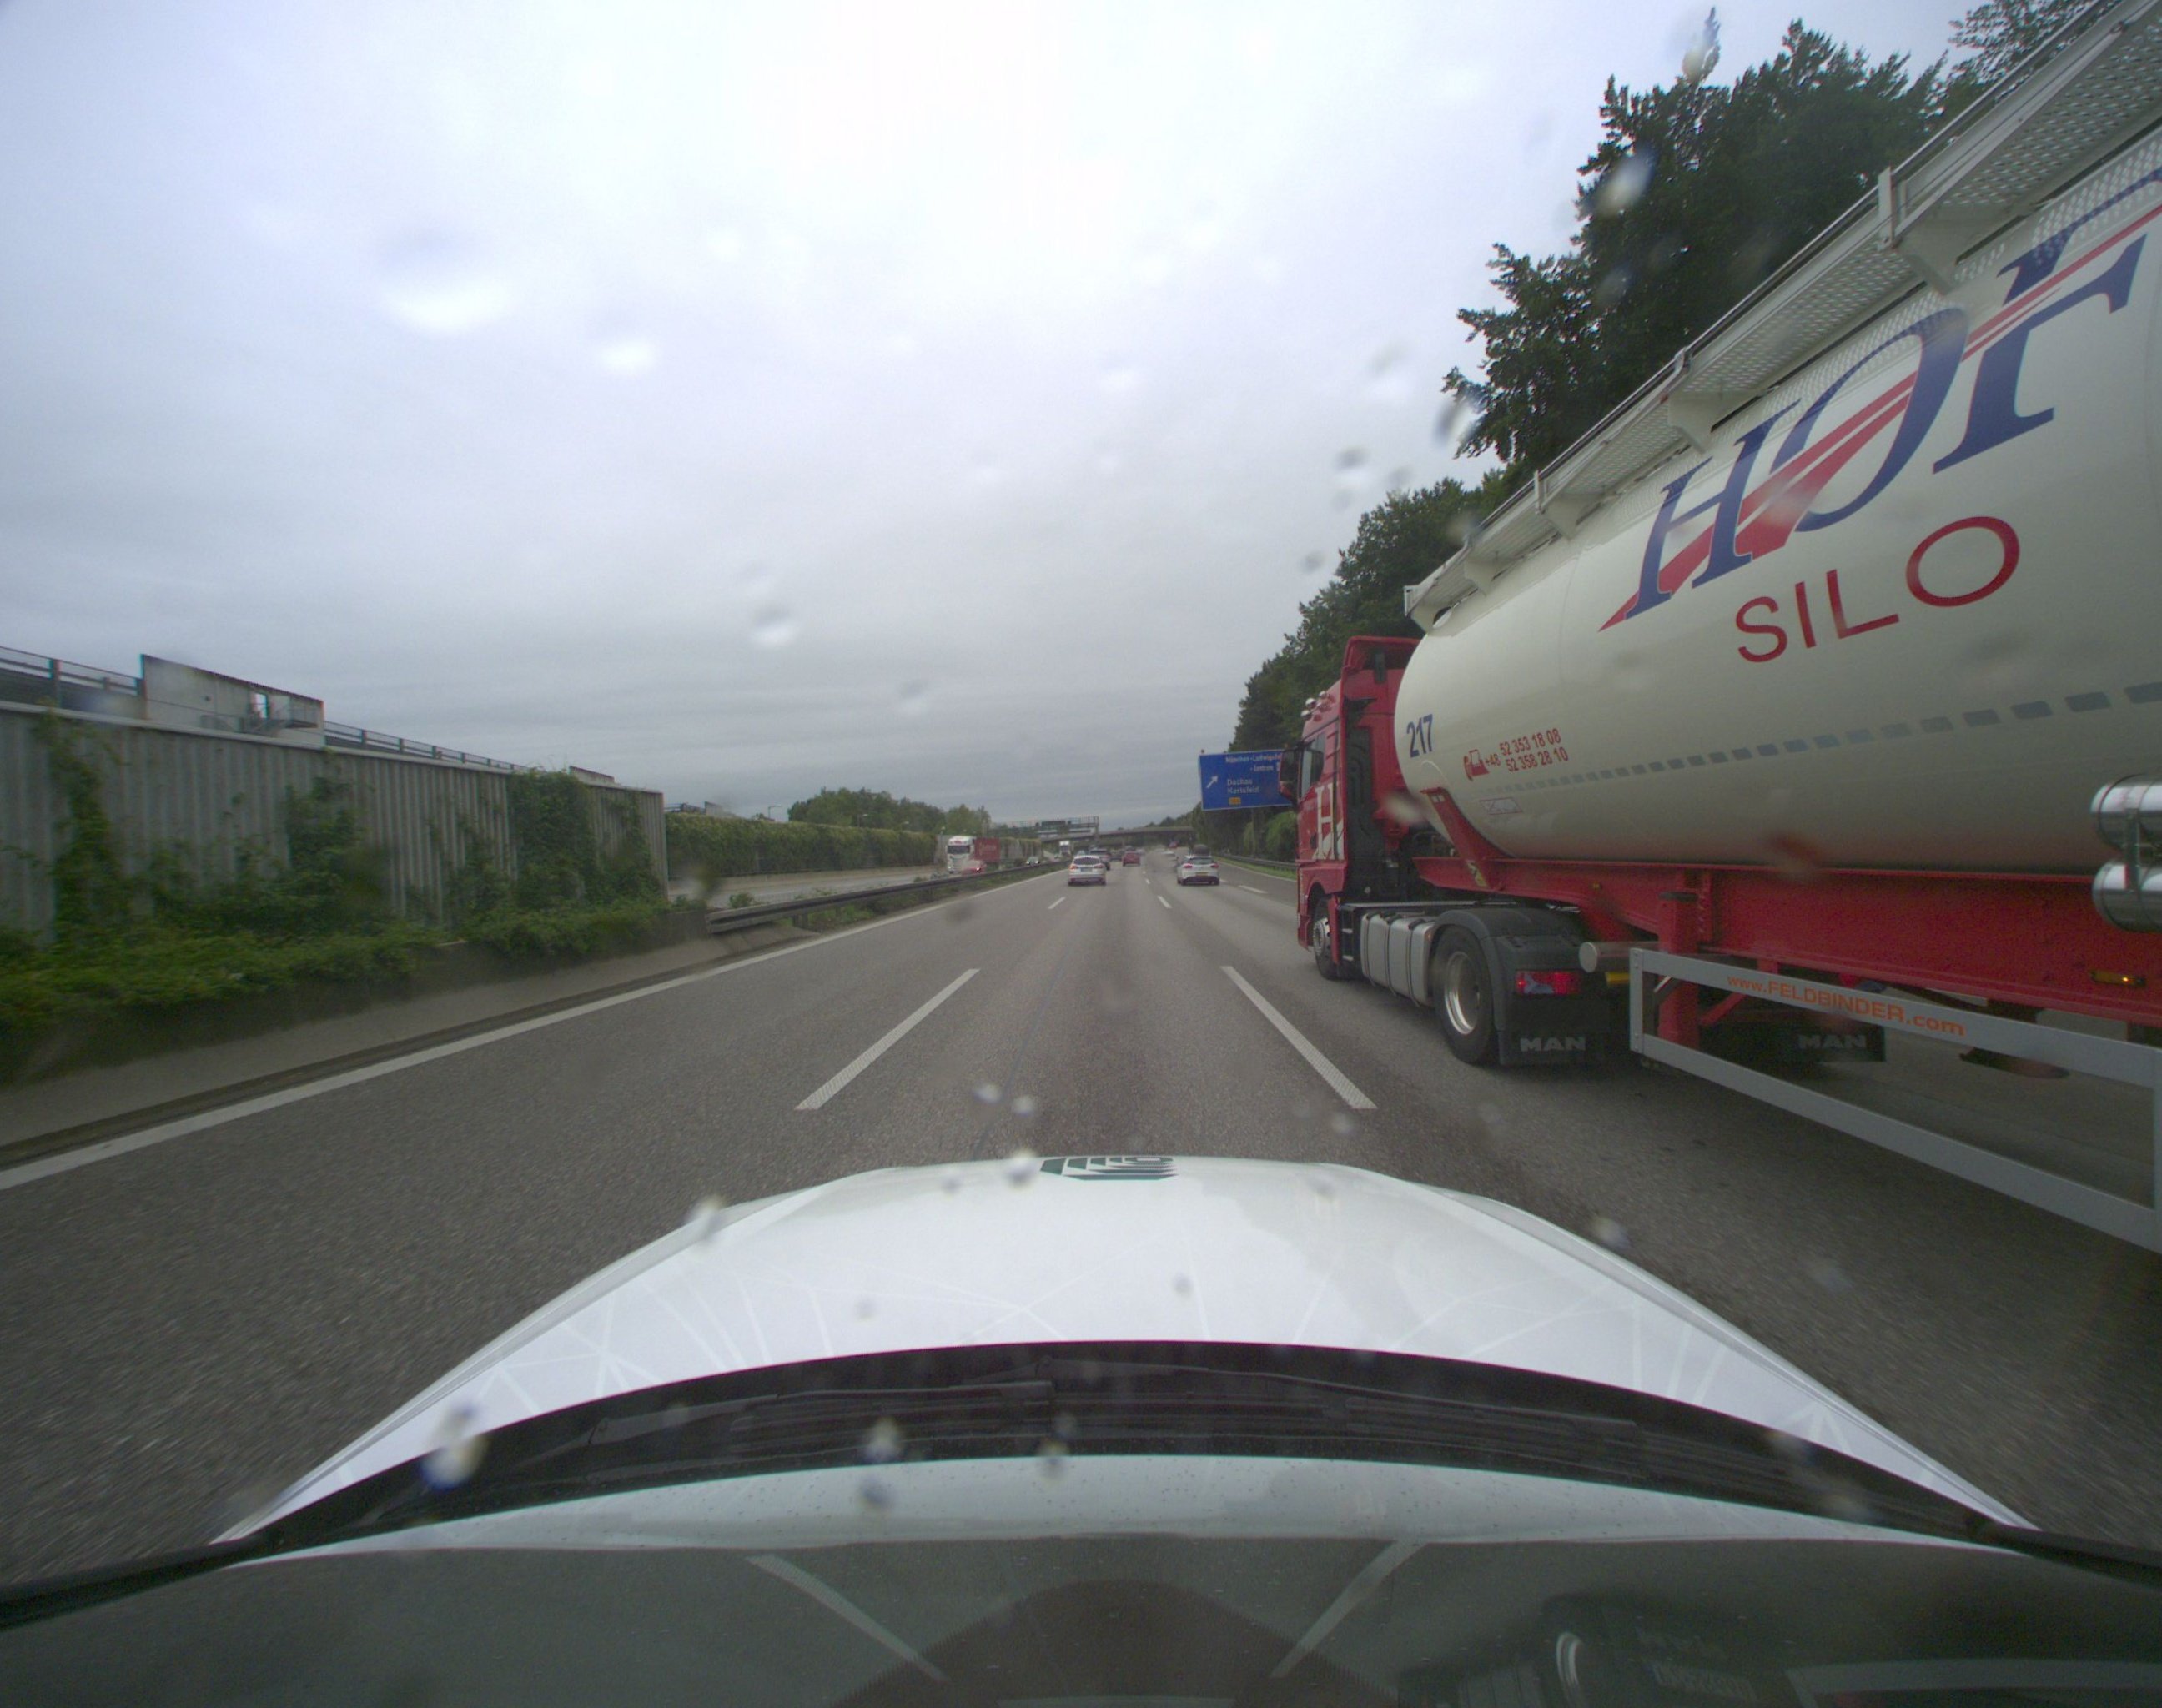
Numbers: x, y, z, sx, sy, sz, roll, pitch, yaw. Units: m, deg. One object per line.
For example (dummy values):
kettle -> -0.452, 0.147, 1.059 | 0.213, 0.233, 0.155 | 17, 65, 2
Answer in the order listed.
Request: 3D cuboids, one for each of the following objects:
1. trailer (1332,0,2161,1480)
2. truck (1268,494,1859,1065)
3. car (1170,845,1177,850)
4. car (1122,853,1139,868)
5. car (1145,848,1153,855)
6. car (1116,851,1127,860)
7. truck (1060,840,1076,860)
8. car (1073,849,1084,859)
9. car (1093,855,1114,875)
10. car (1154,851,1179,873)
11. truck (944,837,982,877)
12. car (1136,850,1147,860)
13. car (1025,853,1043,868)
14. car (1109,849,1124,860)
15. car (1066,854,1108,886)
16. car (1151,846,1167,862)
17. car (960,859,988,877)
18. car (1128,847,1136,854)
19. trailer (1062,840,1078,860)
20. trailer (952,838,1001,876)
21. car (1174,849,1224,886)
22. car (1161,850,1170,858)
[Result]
trailer -> 3.837, -0.522, 1.954 | 2.658, 3.939, 13.133 | -1, 0, 1
truck -> 4.106, -0.528, 8.948 | 2.685, 3.912, 6.559 | -1, 0, 2
car -> 24.693, -1.715, 217.382 | 1.681, 1.422, 3.877 | -2, 0, 5
car -> 5.142, 0.684, 83.901 | 1.681, 1.506, 3.876 | -1, 0, 5
car -> 15.572, -0.642, 185.735 | 1.680, 1.539, 3.879 | -2, 0, 7
car -> 7.534, 0.317, 149.583 | 1.680, 1.639, 3.878 | -2, -1, 7
truck -> -2.881, -0.891, 182.548 | 2.636, 4.473, 5.291 | -2, 0, 5
car -> -0.449, 0.028, 178.897 | 1.984, 2.014, 4.915 | -2, -1, 4
car -> 1.913, 0.941, 69.326 | 1.683, 1.506, 3.872 | 2, 1, 0
car -> 6.282, 0.604, 60.061 | 1.681, 1.506, 3.876 | -2, -1, 5
truck -> -12.955, 0.309, 90.090 | 2.655, 4.127, 5.925 | -2, 0, 5
car -> 11.291, 0.174, 151.897 | 1.780, 1.779, 3.878 | -2, -1, 7
car -> -6.408, 0.891, 111.936 | 1.985, 1.738, 4.004 | 1, 2, 3
car -> 4.908, 0.054, 112.019 | 1.680, 1.506, 3.879 | -3, 0, 7
car -> 0.369, 0.766, 40.709 | 1.884, 1.504, 5.034 | 0, 0, 3
car -> 9.281, 0.045, 96.659 | 1.680, 1.779, 3.878 | -2, -1, 7
car -> -9.950, 1.294, 75.824 | 1.765, 1.569, 4.720 | -1, -1, 2
car -> 11.871, -0.843, 190.737 | 1.681, 1.422, 3.877 | -2, 0, 5
trailer -> -2.536, -0.957, 186.279 | 2.655, 4.444, 8.586 | -2, 0, 6
trailer -> -12.273, 0.345, 97.238 | 2.731, 4.127, 13.710 | -2, 0, 6
car -> 5.502, 0.617, 38.605 | 1.809, 1.625, 5.032 | -1, -1, 2
car -> 16.485, -0.058, 158.904 | 1.680, 1.539, 3.879 | -2, 0, 7
